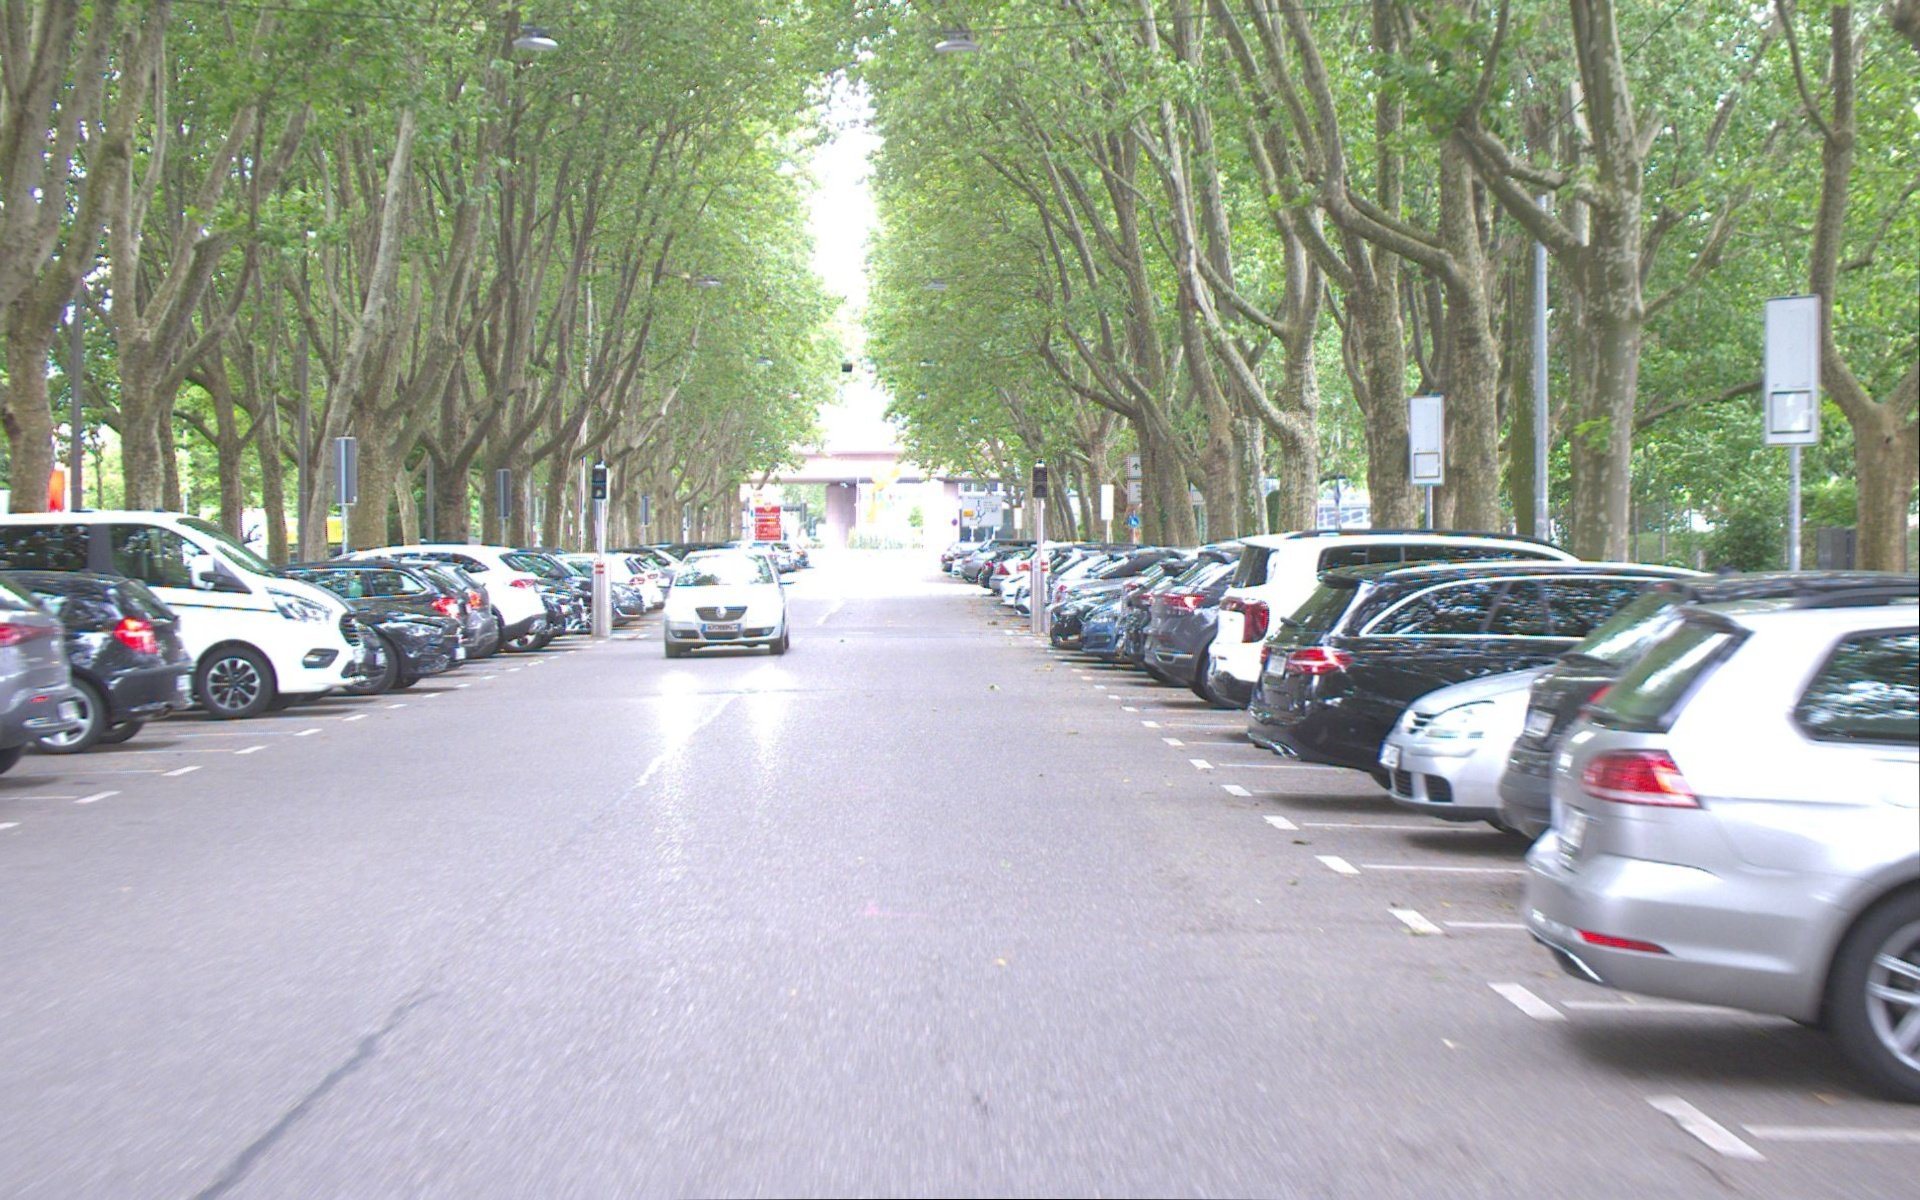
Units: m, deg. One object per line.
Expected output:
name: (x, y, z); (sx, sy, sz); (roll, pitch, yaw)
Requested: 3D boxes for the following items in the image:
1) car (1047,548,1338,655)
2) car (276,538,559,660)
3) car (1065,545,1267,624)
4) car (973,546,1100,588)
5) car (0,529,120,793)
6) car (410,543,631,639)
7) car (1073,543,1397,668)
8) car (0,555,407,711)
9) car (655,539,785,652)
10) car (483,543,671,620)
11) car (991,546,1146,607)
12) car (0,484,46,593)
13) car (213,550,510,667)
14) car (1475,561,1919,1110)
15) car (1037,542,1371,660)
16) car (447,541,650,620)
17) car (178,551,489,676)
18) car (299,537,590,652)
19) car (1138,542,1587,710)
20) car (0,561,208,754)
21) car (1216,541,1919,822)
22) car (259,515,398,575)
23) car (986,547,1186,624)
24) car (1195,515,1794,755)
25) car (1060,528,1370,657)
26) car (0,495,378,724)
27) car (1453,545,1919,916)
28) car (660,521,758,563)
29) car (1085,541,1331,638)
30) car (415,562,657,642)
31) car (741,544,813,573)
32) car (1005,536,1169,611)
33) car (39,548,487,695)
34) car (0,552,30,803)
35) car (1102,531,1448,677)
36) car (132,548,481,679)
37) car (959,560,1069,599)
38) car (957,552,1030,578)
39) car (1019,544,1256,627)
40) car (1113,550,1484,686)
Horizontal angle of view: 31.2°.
car: (3.379, 0.013, 50.499); (4.113, 1.465, 1.694); (1, 1, -1)
car: (-7.793, -0.038, 49.659); (3.826, 1.622, 1.953); (-2, 1, -4)
car: (4.048, -0.319, 67.838); (3.775, 1.465, 1.624); (1, 1, -4)
car: (2.857, -1.219, 127.014); (4.575, 1.481, 2.000); (1, 1, 4)
car: (-7.973, 0.452, 22.715); (4.340, 1.662, 2.000); (-2, 1, -2)
car: (-7.919, -0.174, 62.144); (3.826, 1.602, 1.695); (-2, 1, -4)
car: (3.387, 0.059, 42.814); (3.826, 1.450, 1.694); (1, 1, -2)
car: (-8.080, 0.328, 35.507); (4.448, 1.447, 1.774); (-2, 1, -1)
car: (-3.321, -0.093, 48.128); (1.688, 1.466, 3.840); (-1, 1, -3)
car: (-8.050, -0.403, 72.470); (3.826, 1.492, 1.695); (-2, 1, -4)
car: (2.672, -0.595, 85.411); (3.645, 1.419, 1.986); (1, 1, -4)
car: (-25.249, -1.532, 83.027); (5.786, 2.588, 2.000); (1, 1, 0)
car: (-8.190, 0.103, 47.276); (3.826, 1.466, 1.695); (-2, 1, -4)
car: (3.718, 0.707, 10.048); (4.119, 1.424, 1.703); (3, 0, 1)
car: (3.184, -0.001, 45.351); (4.211, 1.446, 1.611); (1, 1, -2)
car: (-8.024, -0.398, 67.242); (3.826, 1.425, 1.695); (-2, 1, -4)
car: (-8.199, 0.163, 45.249); (3.755, 1.469, 1.865); (-2, 1, -2)
car: (-7.770, -0.097, 52.078); (4.068, 1.602, 1.799); (-1, 1, 2)
car: (3.776, 0.229, 32.662); (3.986, 1.481, 1.694); (1, 1, -2)
car: (-8.096, 0.486, 27.049); (3.986, 1.408, 1.683); (-2, 1, -3)
car: (3.880, 0.458, 20.430); (4.501, 1.521, 1.703); (1, 1, -3)
car: (-24.328, -2.123, 132.466); (5.077, 2.224, 1.536); (1, 1, -2)
car: (2.734, -0.324, 75.071); (4.166, 1.591, 1.855); (1, 1, -4)
car: (4.175, 0.255, 27.306); (4.383, 1.749, 1.801); (1, 1, -3)
car: (3.490, -0.116, 47.553); (4.113, 1.664, 1.694); (1, 1, 0)
car: (-8.117, 0.099, 32.472); (4.893, 2.012, 1.920); (-2, 1, -1)
car: (4.403, 0.560, 15.380); (4.044, 1.521, 1.815); (1, 1, -3)
car: (-10.490, -2.433, 144.065); (3.814, 1.597, 1.785); (-2, 1, 5)
car: (3.956, -0.180, 55.183); (3.775, 1.465, 1.667); (1, 1, -1)
car: (-7.967, 0.029, 64.812); (4.400, 1.360, 1.695); (-2, 1, -4)
car: (-10.046, -2.292, 189.295); (3.814, 1.510, 1.686); (1, 1, 2)
car: (2.956, -0.633, 80.240); (3.645, 1.661, 1.519); (1, 1, -4)
car: (-7.571, 0.216, 37.559); (4.449, 1.447, 1.774); (-2, 1, 4)
car: (-7.649, 0.542, 19.948); (3.986, 1.470, 1.843); (-2, 1, -3)
car: (3.658, 0.030, 40.384); (3.826, 1.602, 1.694); (1, 1, -2)
car: (-7.958, 0.150, 42.107); (3.995, 1.466, 1.537); (-2, 1, -4)
car: (2.114, -0.804, 134.311); (4.176, 1.437, 1.731); (1, 1, 4)
car: (2.037, -2.139, 208.817); (4.376, 1.517, 1.731); (1, 1, 0)
car: (3.335, -0.283, 65.038); (4.296, 1.465, 1.624); (1, 1, -4)
car: (3.671, 0.186, 37.756); (3.826, 1.384, 1.694); (1, 1, -2)
